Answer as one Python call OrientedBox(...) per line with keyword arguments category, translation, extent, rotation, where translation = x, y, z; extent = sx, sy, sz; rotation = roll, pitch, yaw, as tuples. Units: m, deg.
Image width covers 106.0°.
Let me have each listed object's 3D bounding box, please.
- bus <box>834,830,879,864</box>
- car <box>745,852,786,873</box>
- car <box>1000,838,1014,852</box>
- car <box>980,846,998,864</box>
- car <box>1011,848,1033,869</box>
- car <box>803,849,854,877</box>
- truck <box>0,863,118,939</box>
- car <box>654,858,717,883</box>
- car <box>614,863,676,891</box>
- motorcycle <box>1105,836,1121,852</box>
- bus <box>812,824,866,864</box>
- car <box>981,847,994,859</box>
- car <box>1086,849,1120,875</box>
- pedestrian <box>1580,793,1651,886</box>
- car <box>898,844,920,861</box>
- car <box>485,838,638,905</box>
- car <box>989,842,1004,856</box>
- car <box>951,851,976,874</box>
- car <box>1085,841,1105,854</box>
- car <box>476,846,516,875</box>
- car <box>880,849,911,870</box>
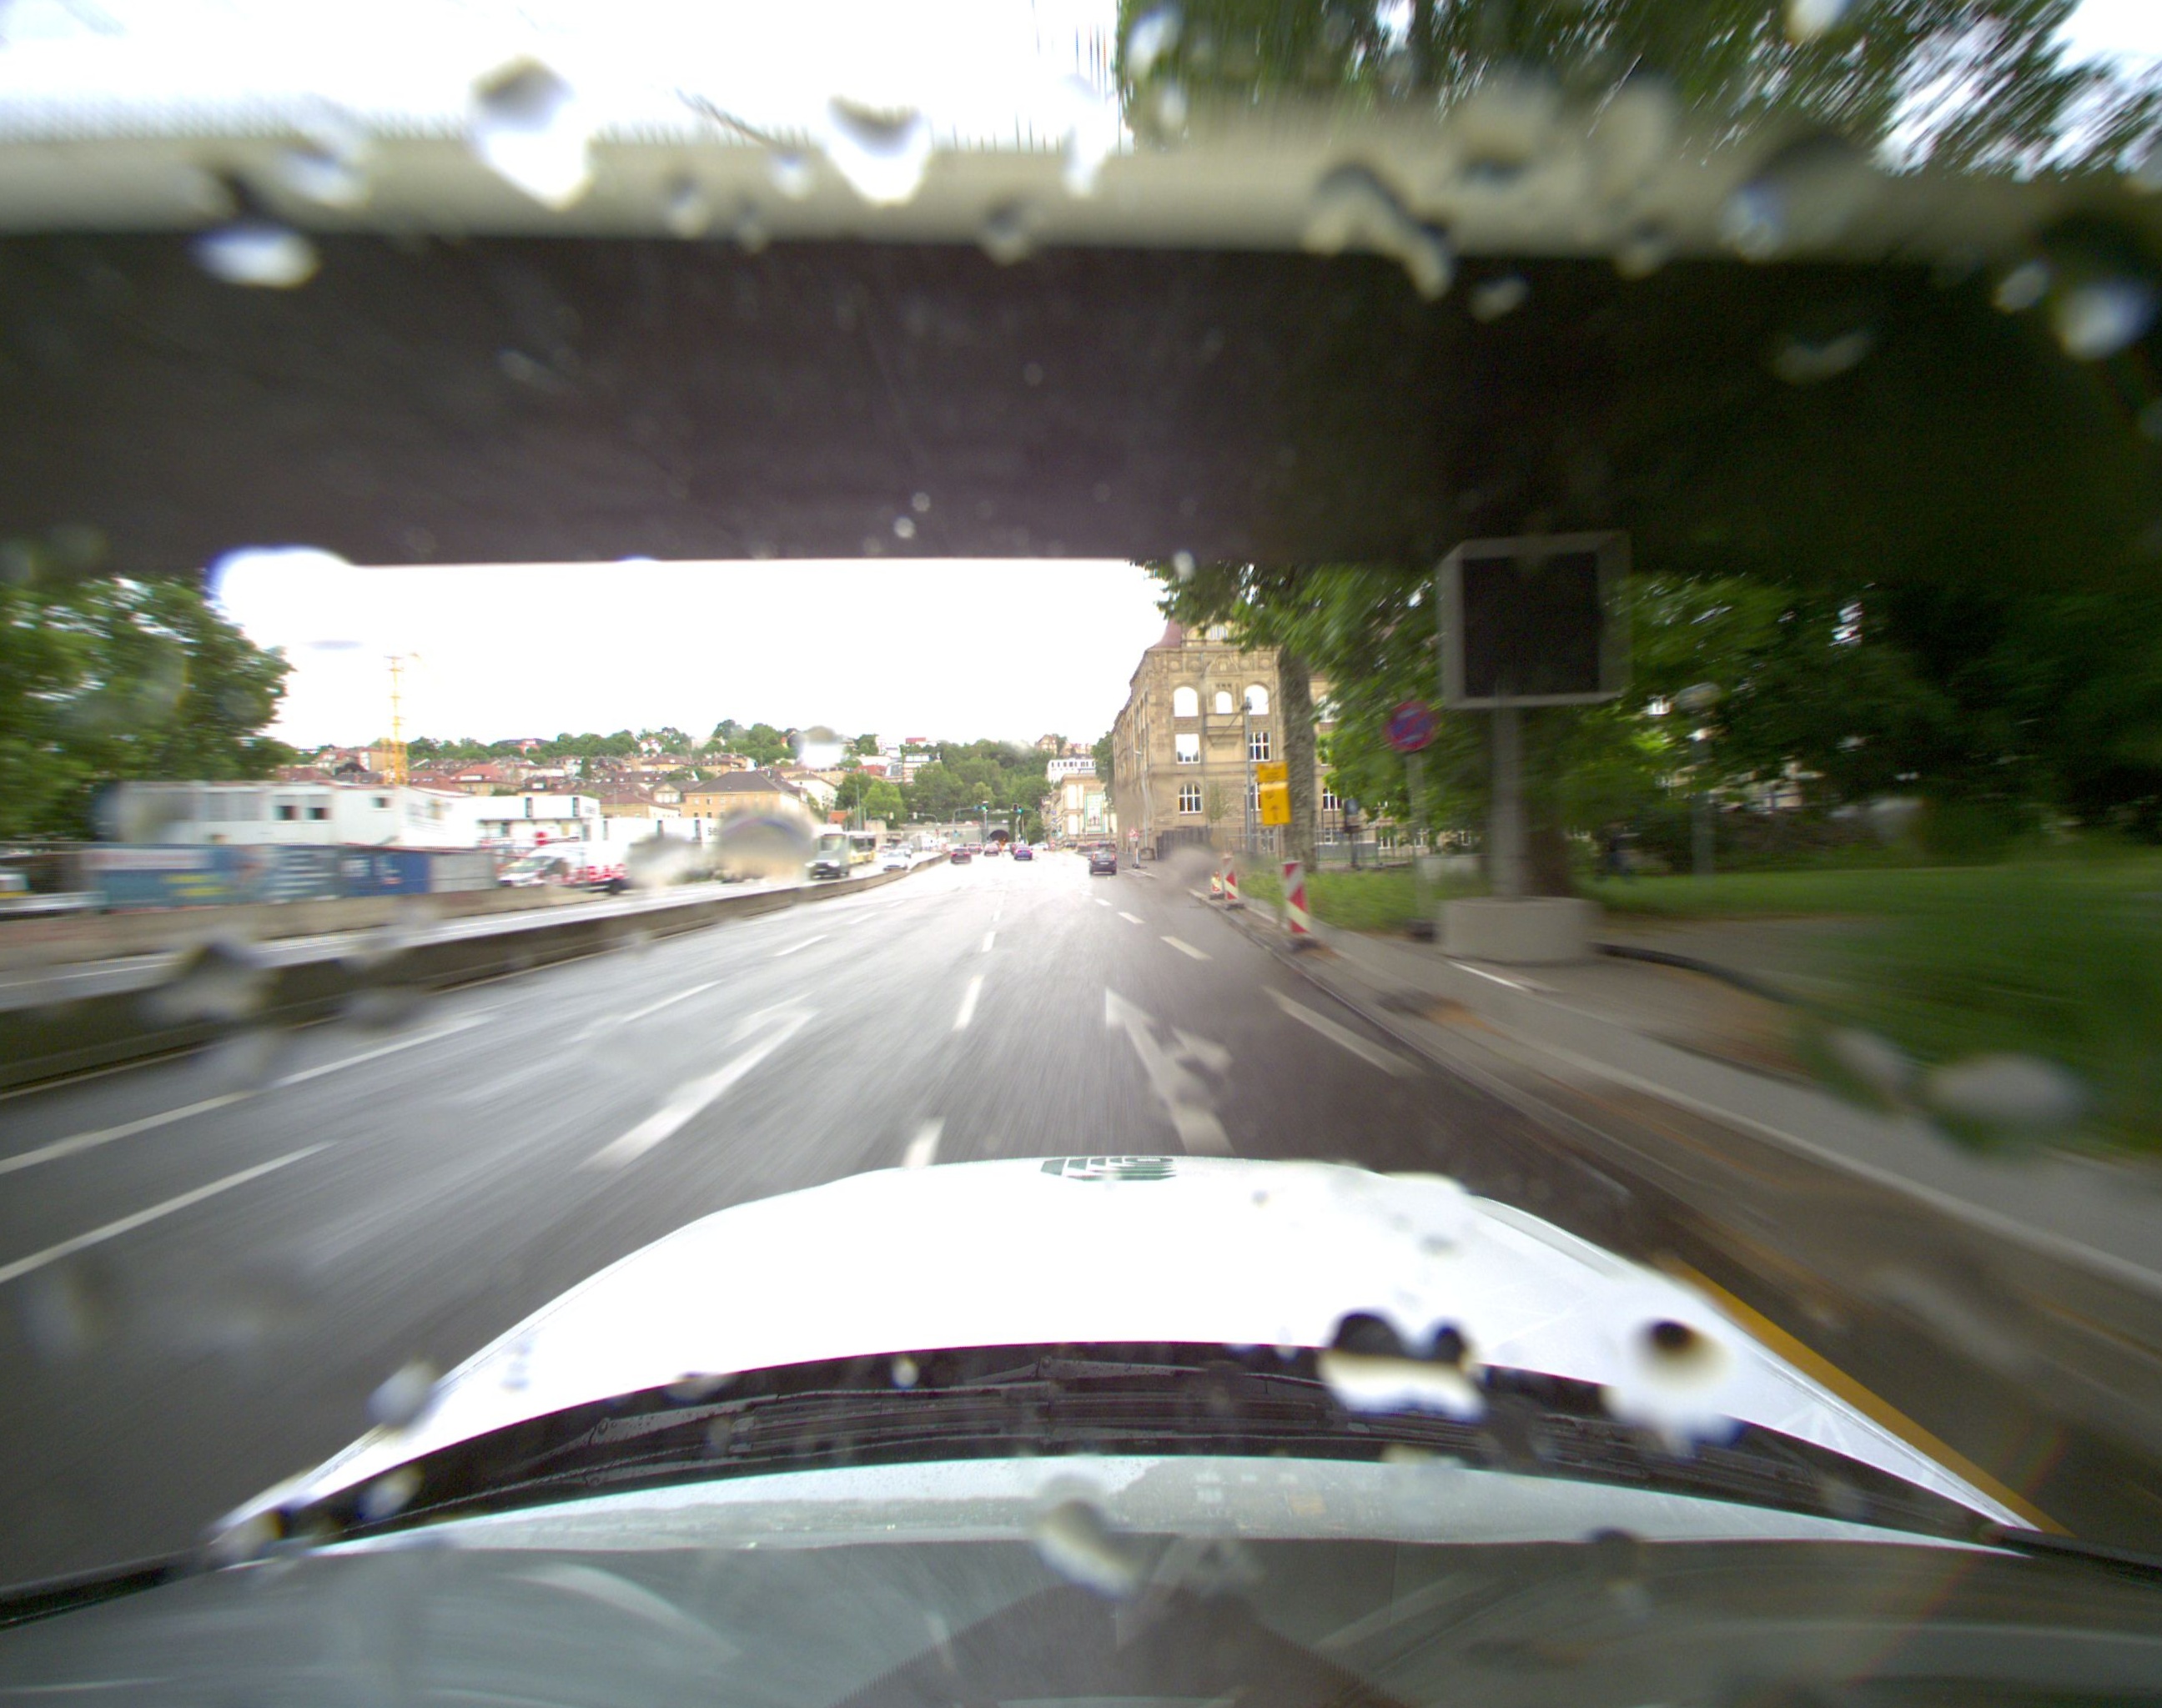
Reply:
OrientedBox(category="bus", translation=(-22.112, -0.629, 80.623), extent=(2.700, 3.151, 9.131), rotation=(-2, 0, -6))
OrientedBox(category="car", translation=(-27.120, 0.676, 70.144), extent=(1.988, 1.621, 3.997), rotation=(-2, 1, -2))
OrientedBox(category="car", translation=(-12.293, -1.476, 135.899), extent=(1.993, 2.013, 3.987), rotation=(-3, 0, -9))
OrientedBox(category="car", translation=(-11.473, 0.111, 101.682), extent=(2.049, 2.014, 3.990), rotation=(-3, -1, -7))
OrientedBox(category="car", translation=(-6.170, 0.456, 85.245), extent=(2.102, 2.050, 3.991), rotation=(-3, -1, -6))
OrientedBox(category="car", translation=(-16.164, 0.567, 52.368), extent=(2.079, 1.630, 4.843), rotation=(-3, 0, -6))
OrientedBox(category="truck", translation=(-31.145, 1.378, 22.740), extent=(5.248, 2.013, 2.156), rotation=(-3, 0, -11))
OrientedBox(category="car", translation=(-27.292, 1.161, 56.432), extent=(1.754, 1.565, 4.687), rotation=(-3, -1, 4))
OrientedBox(category="car", translation=(-27.453, 1.421, 51.419), extent=(1.758, 1.565, 4.171), rotation=(-2, 1, -3))
OrientedBox(category="motorcycle", translation=(4.204, -1.393, 107.340), extent=(1.791, 2.013, 3.810), rotation=(-2, 1, -2))
OrientedBox(category="bus", translation=(-21.186, -0.778, 71.684), extent=(2.803, 3.184, 8.789), rotation=(-3, 0, -6))
OrientedBox(category="car", translation=(-18.026, -0.149, 157.390), extent=(2.291, 2.014, 4.591), rotation=(-3, -1, -8))
OrientedBox(category="car", translation=(1.391, 0.518, 52.005), extent=(1.808, 1.527, 3.995), rotation=(-3, -1, -3))
OrientedBox(category="pedestrian", translation=(11.986, -0.319, 18.267), extent=(1.058, 2.013, 1.026), rotation=(-2, 0, -40))
OrientedBox(category="car", translation=(-19.541, -0.134, 92.671), extent=(2.038, 1.662, 4.919), rotation=(-3, -1, -8))
OrientedBox(category="car", translation=(-24.561, 0.793, 38.877), extent=(1.976, 2.875, 6.083), rotation=(-3, -1, 21))
OrientedBox(category="car", translation=(-12.519, -0.739, 120.071), extent=(1.992, 1.869, 3.989), rotation=(-3, -1, -7))
OrientedBox(category="car", translation=(-11.065, 0.819, 76.803), extent=(2.014, 2.014, 3.991), rotation=(-3, -1, -6))
OrientedBox(category="car", translation=(2.297, -1.116, 132.389), extent=(1.977, 2.013, 4.020), rotation=(-2, 0, 19))
OrientedBox(category="car", translation=(-61.071, 0.694, 85.122), extent=(2.001, 2.830, 5.275), rotation=(-2, -1, -21))
OrientedBox(category="car", translation=(-14.189, 0.468, 62.444), extent=(1.706, 1.489, 3.444), rotation=(-3, -1, -5))
